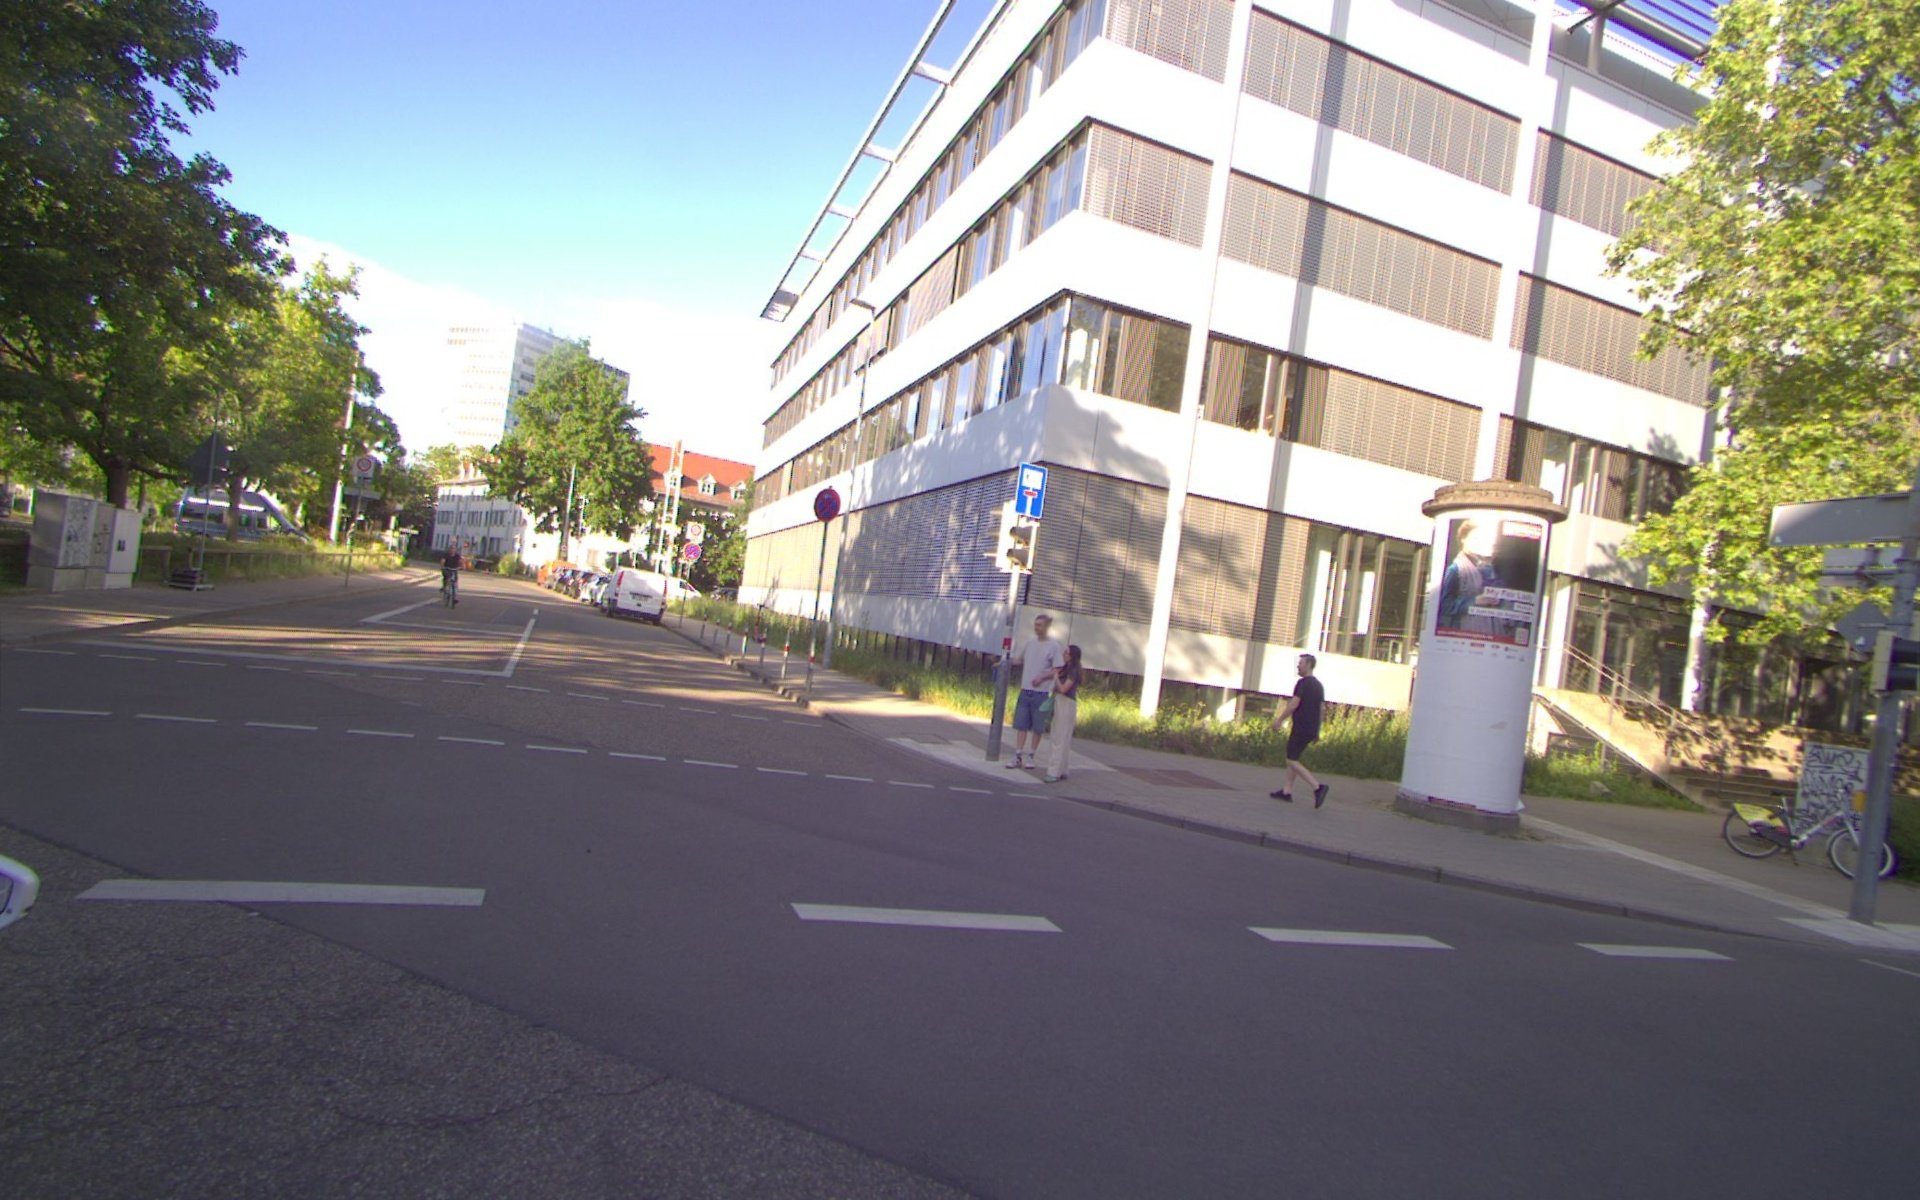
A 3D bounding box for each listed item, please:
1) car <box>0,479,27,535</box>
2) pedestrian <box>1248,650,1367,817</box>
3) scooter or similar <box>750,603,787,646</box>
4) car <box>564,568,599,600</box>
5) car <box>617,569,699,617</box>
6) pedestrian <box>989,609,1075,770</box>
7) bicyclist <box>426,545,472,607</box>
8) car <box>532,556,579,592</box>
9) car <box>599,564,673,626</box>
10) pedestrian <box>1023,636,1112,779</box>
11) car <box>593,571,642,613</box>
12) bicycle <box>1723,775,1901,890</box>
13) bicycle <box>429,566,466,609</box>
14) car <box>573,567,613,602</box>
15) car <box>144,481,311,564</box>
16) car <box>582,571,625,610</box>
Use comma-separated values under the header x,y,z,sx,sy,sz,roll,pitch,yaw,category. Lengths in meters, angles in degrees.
x,y,z,sx,sy,sz,roll,pitch,yaw,category
-39.590,-3.964,39.131,4.255,2.113,1.779,9,-1,-22,car
4.131,1.562,11.969,0.981,1.792,0.604,7,-1,38,pedestrian
-6.044,0.763,31.674,0.691,1.193,1.549,8,-1,-23,scooter or similar
-21.150,-0.929,56.146,1.609,1.502,3.831,8,-1,-22,car
-21.983,-0.493,73.338,5.074,2.650,1.981,10,0,-34,car
0.876,1.088,12.287,0.565,1.861,0.598,8,-1,-36,pedestrian
-13.938,-0.663,27.428,0.869,1.553,1.079,8,-1,-31,bicyclist
-26.290,-1.724,65.253,2.068,1.809,4.873,8,1,-29,car
-11.984,-0.225,37.022,2.082,1.850,4.696,8,-1,-22,car
1.243,1.240,11.675,0.556,1.542,0.668,8,-1,-32,pedestrian
-14.721,-0.383,43.155,1.609,1.502,3.831,8,-1,-22,car
11.024,2.968,13.052,0.618,1.012,1.614,5,3,-45,bicycle
-14.016,-0.362,27.476,0.711,1.029,2.008,7,0,-30,bicycle
-18.849,-0.808,51.590,1.609,1.502,3.831,8,-1,-22,car
-30.861,-3.196,42.596,5.092,2.603,1.990,9,-1,-22,car
-16.802,-0.488,47.313,1.609,1.502,3.831,8,-1,-22,car
